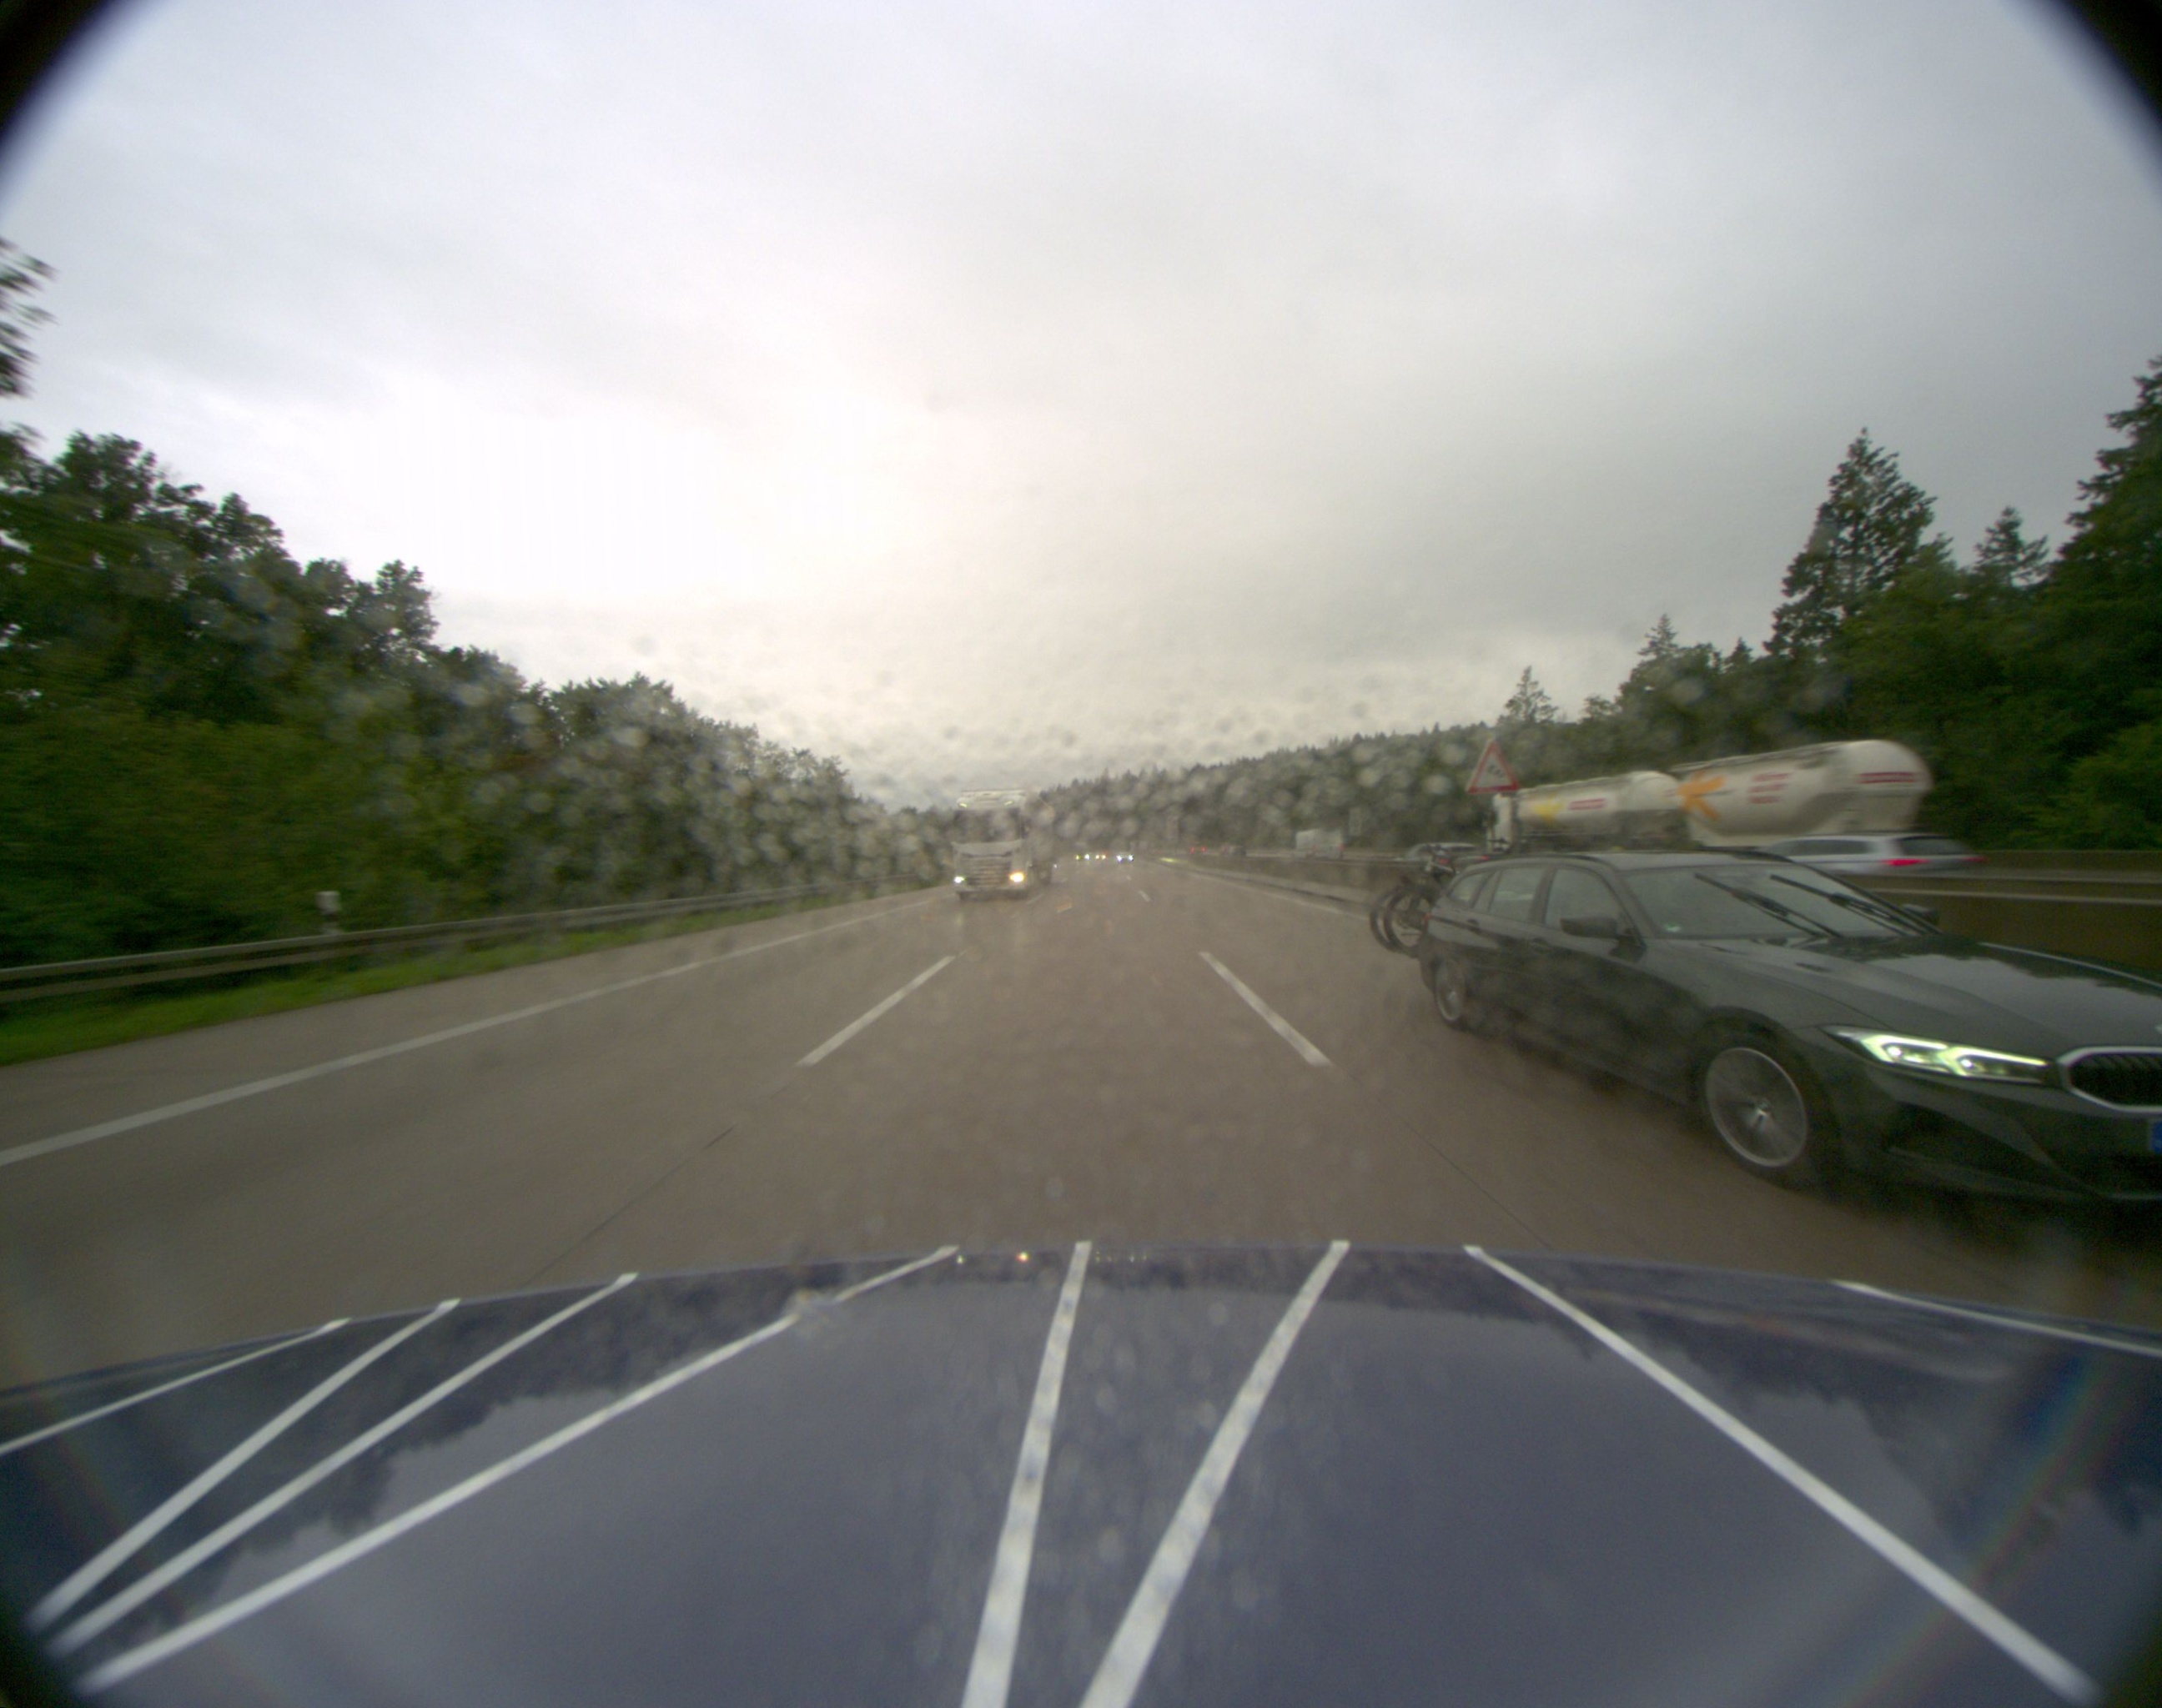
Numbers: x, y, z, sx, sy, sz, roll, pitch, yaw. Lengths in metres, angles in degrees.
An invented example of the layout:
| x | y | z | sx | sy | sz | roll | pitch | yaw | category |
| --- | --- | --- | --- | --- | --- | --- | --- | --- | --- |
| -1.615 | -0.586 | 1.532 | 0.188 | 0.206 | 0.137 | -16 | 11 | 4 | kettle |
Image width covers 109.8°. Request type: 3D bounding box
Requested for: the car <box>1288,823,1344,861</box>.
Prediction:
| x | y | z | sx | sy | sz | roll | pitch | yaw | category |
| --- | --- | --- | --- | --- | --- | --- | --- | --- | --- |
| 16.487 | -0.826 | 53.768 | 1.998 | 2.435 | 6.745 | -2 | 1 | 2 | car |

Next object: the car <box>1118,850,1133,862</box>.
| x | y | z | sx | sy | sz | roll | pitch | yaw | category |
| --- | --- | --- | --- | --- | --- | --- | --- | --- | --- |
| 5.748 | 0.249 | 98.895 | 1.716 | 1.399 | 4.936 | -2 | 0 | 1 | car |

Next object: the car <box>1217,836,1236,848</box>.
| x | y | z | sx | sy | sz | roll | pitch | yaw | category |
| --- | --- | --- | --- | --- | --- | --- | --- | --- | --- |
| 22.350 | -1.829 | 116.838 | 1.998 | 1.689 | 4.974 | -2 | 1 | 2 | car |

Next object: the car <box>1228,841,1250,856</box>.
| x | y | z | sx | sy | sz | roll | pitch | yaw | category |
| --- | --- | --- | --- | --- | --- | --- | --- | --- | --- |
| 17.968 | -0.625 | 86.574 | 1.612 | 1.545 | 4.642 | -2 | 1 | 2 | car |

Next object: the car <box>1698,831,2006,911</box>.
| x | y | z | sx | sy | sz | roll | pitch | yaw | category |
| --- | --- | --- | --- | --- | --- | --- | --- | --- | --- |
| 15.585 | 0.282 | 15.823 | 1.663 | 1.364 | 4.721 | -2 | 1 | 1 | car |

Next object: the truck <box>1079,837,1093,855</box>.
| x | y | z | sx | sy | sz | roll | pitch | yaw | category |
| --- | --- | --- | --- | --- | --- | --- | --- | --- | --- |
| 1.096 | -1.779 | 176.422 | 2.738 | 4.127 | 8.620 | -2 | 0 | -1 | truck |

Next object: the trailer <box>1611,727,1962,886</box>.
| x | y | z | sx | sy | sz | roll | pitch | yaw | category |
| --- | --- | --- | --- | --- | --- | --- | --- | --- | --- |
| 19.437 | -1.144 | 21.948 | 2.552 | 3.646 | 8.230 | -2 | 1 | 1 | trailer |

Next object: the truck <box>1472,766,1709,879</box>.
| x | y | z | sx | sy | sz | roll | pitch | yaw | category |
| --- | --- | --- | --- | --- | --- | --- | --- | --- | --- |
| 19.626 | -1.086 | 30.493 | 2.570 | 3.646 | 10.491 | -2 | 1 | 1 | truck |

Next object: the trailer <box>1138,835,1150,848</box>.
| x | y | z | sx | sy | sz | roll | pitch | yaw | category |
| --- | --- | --- | --- | --- | --- | --- | --- | --- | --- |
| 20.262 | -4.034 | 244.992 | 2.953 | 4.009 | 13.787 | -4 | 0 | 1 | trailer |

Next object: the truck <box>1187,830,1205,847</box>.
| x | y | z | sx | sy | sz | roll | pitch | yaw | category |
| --- | --- | --- | --- | --- | --- | --- | --- | --- | --- |
| 23.634 | -3.105 | 156.605 | 2.438 | 3.156 | 10.662 | -3 | 0 | 3 | truck |

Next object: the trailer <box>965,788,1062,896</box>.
| x | y | z | sx | sy | sz | roll | pitch | yaw | category |
| --- | --- | --- | --- | --- | --- | --- | --- | --- | --- |
| -2.735 | -0.511 | 35.497 | 2.686 | 4.018 | 13.705 | -2 | 1 | 2 | trailer |

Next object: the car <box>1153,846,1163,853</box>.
| x | y | z | sx | sy | sz | roll | pitch | yaw | category |
| --- | --- | --- | --- | --- | --- | --- | --- | --- | --- |
| 16.752 | -0.990 | 165.529 | 1.998 | 1.382 | 4.752 | -3 | 0 | 3 | car |

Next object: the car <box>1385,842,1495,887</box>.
| x | y | z | sx | sy | sz | roll | pitch | yaw | category |
| --- | --- | --- | --- | --- | --- | --- | --- | --- | --- |
| 12.466 | 0.317 | 26.732 | 1.663 | 1.364 | 4.758 | -2 | 1 | 1 | car |

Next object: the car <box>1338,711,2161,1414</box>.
| x | y | z | sx | sy | sz | roll | pitch | yaw | category |
| --- | --- | --- | --- | --- | --- | --- | --- | --- | --- |
| 3.803 | 0.522 | 5.172 | 1.912 | 1.933 | 6.161 | -2 | 1 | -1 | car |

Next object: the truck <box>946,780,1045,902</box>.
| x | y | z | sx | sy | sz | roll | pitch | yaw | category |
| --- | --- | --- | --- | --- | --- | --- | --- | --- | --- |
| -3.035 | -0.458 | 28.542 | 2.728 | 4.018 | 5.752 | -2 | 1 | 2 | truck |

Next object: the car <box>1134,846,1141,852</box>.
| x | y | z | sx | sy | sz | roll | pitch | yaw | category |
| --- | --- | --- | --- | --- | --- | --- | --- | --- | --- |
| 17.410 | -1.515 | 233.383 | 1.662 | 1.512 | 3.637 | -4 | 1 | -2 | car |

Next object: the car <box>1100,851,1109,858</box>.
| x | y | z | sx | sy | sz | roll | pitch | yaw | category |
| --- | --- | --- | --- | --- | --- | --- | --- | --- | --- |
| 5.063 | 0.080 | 163.776 | 1.717 | 1.399 | 4.935 | -2 | 0 | -1 | car |
